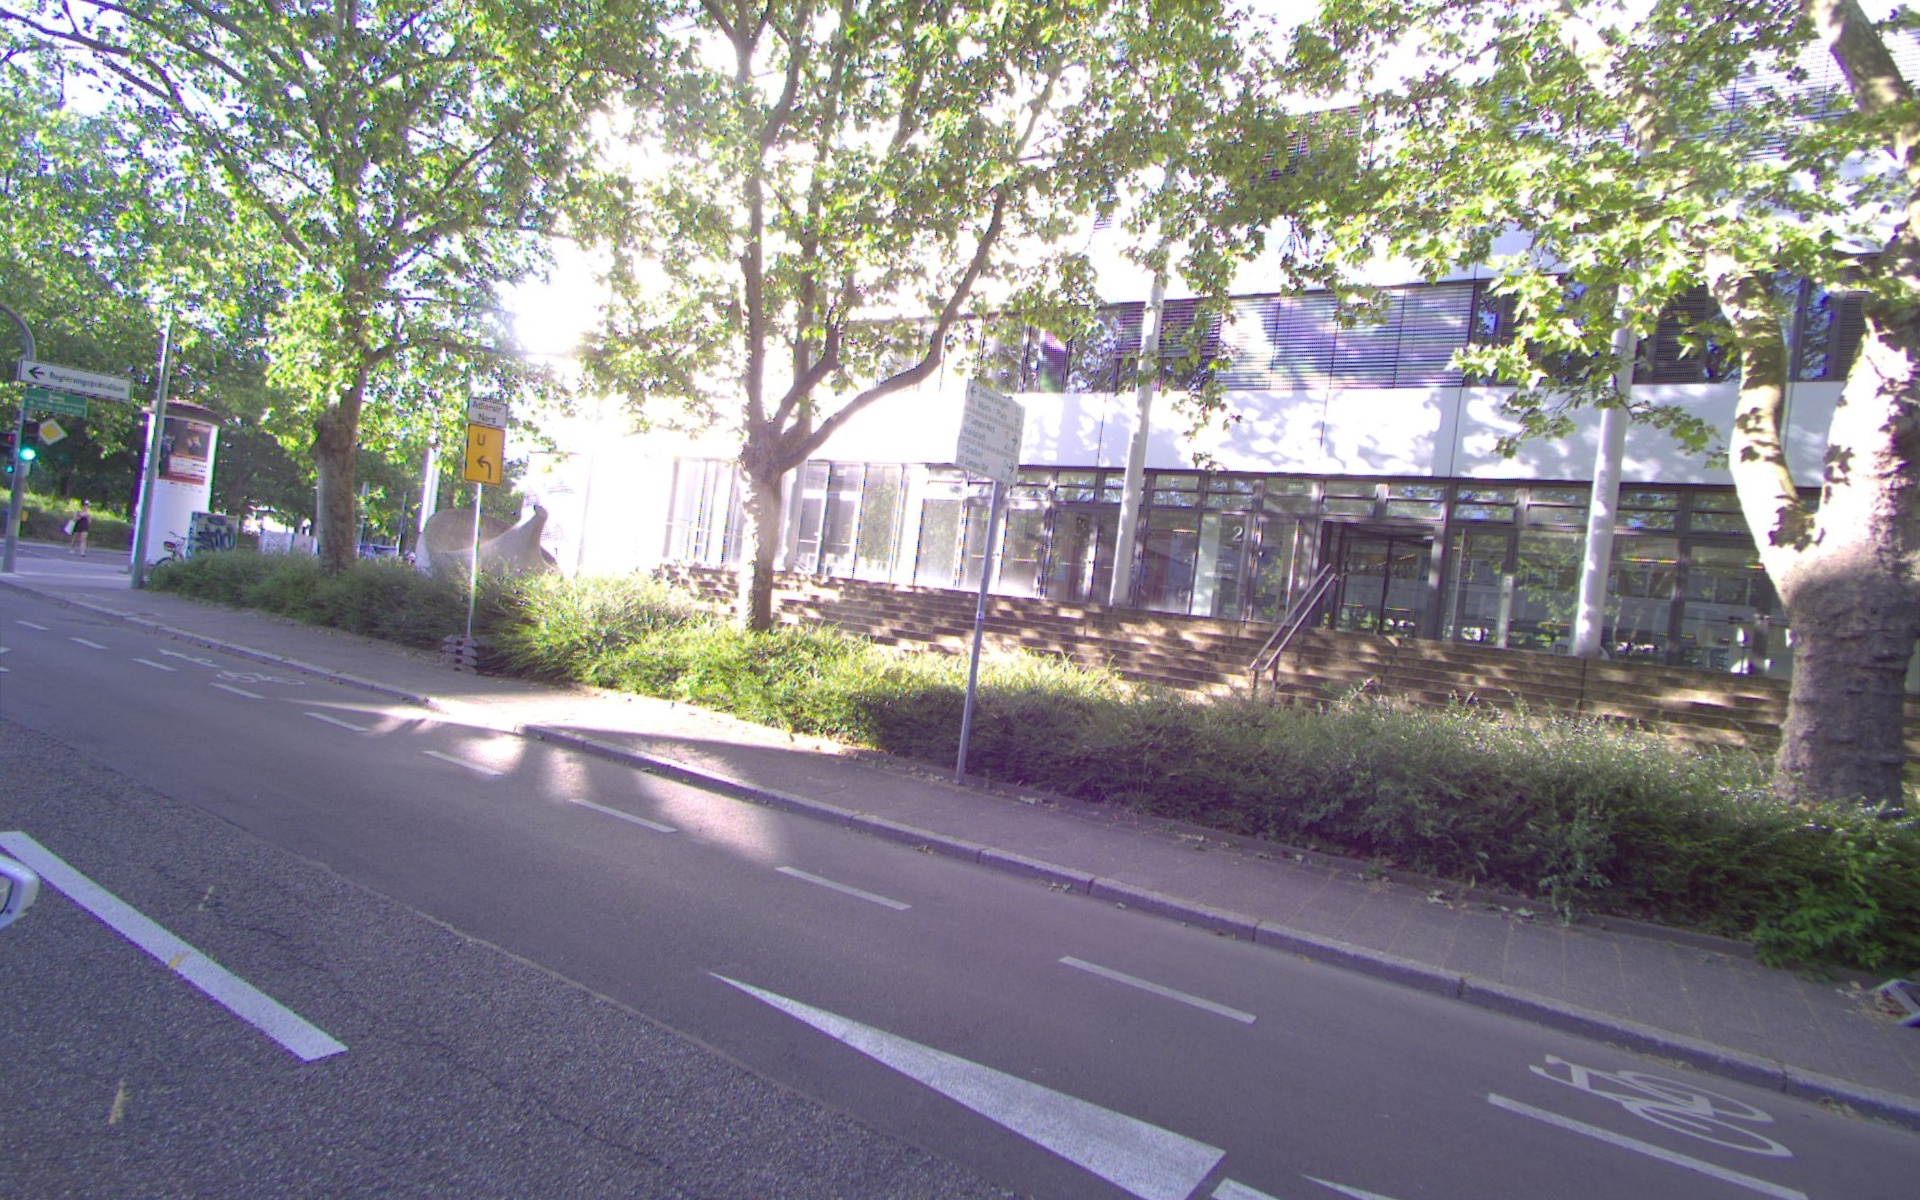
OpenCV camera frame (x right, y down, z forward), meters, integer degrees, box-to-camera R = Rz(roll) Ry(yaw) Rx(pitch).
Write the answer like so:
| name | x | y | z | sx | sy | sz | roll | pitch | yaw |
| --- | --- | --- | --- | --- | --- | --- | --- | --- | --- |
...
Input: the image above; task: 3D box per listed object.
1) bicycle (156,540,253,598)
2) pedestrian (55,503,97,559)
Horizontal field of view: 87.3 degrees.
| name | x | y | z | sx | sy | sz | roll | pitch | yaw |
| --- | --- | --- | --- | --- | --- | --- | --- | --- | --- |
| bicycle | -15.919 | -0.632 | 21.254 | 0.631 | 1.040 | 1.887 | 7 | -2 | -5 |
| pedestrian | -26.952 | -2.107 | 30.674 | 0.896 | 1.563 | 0.636 | 6 | -1 | 35 |
